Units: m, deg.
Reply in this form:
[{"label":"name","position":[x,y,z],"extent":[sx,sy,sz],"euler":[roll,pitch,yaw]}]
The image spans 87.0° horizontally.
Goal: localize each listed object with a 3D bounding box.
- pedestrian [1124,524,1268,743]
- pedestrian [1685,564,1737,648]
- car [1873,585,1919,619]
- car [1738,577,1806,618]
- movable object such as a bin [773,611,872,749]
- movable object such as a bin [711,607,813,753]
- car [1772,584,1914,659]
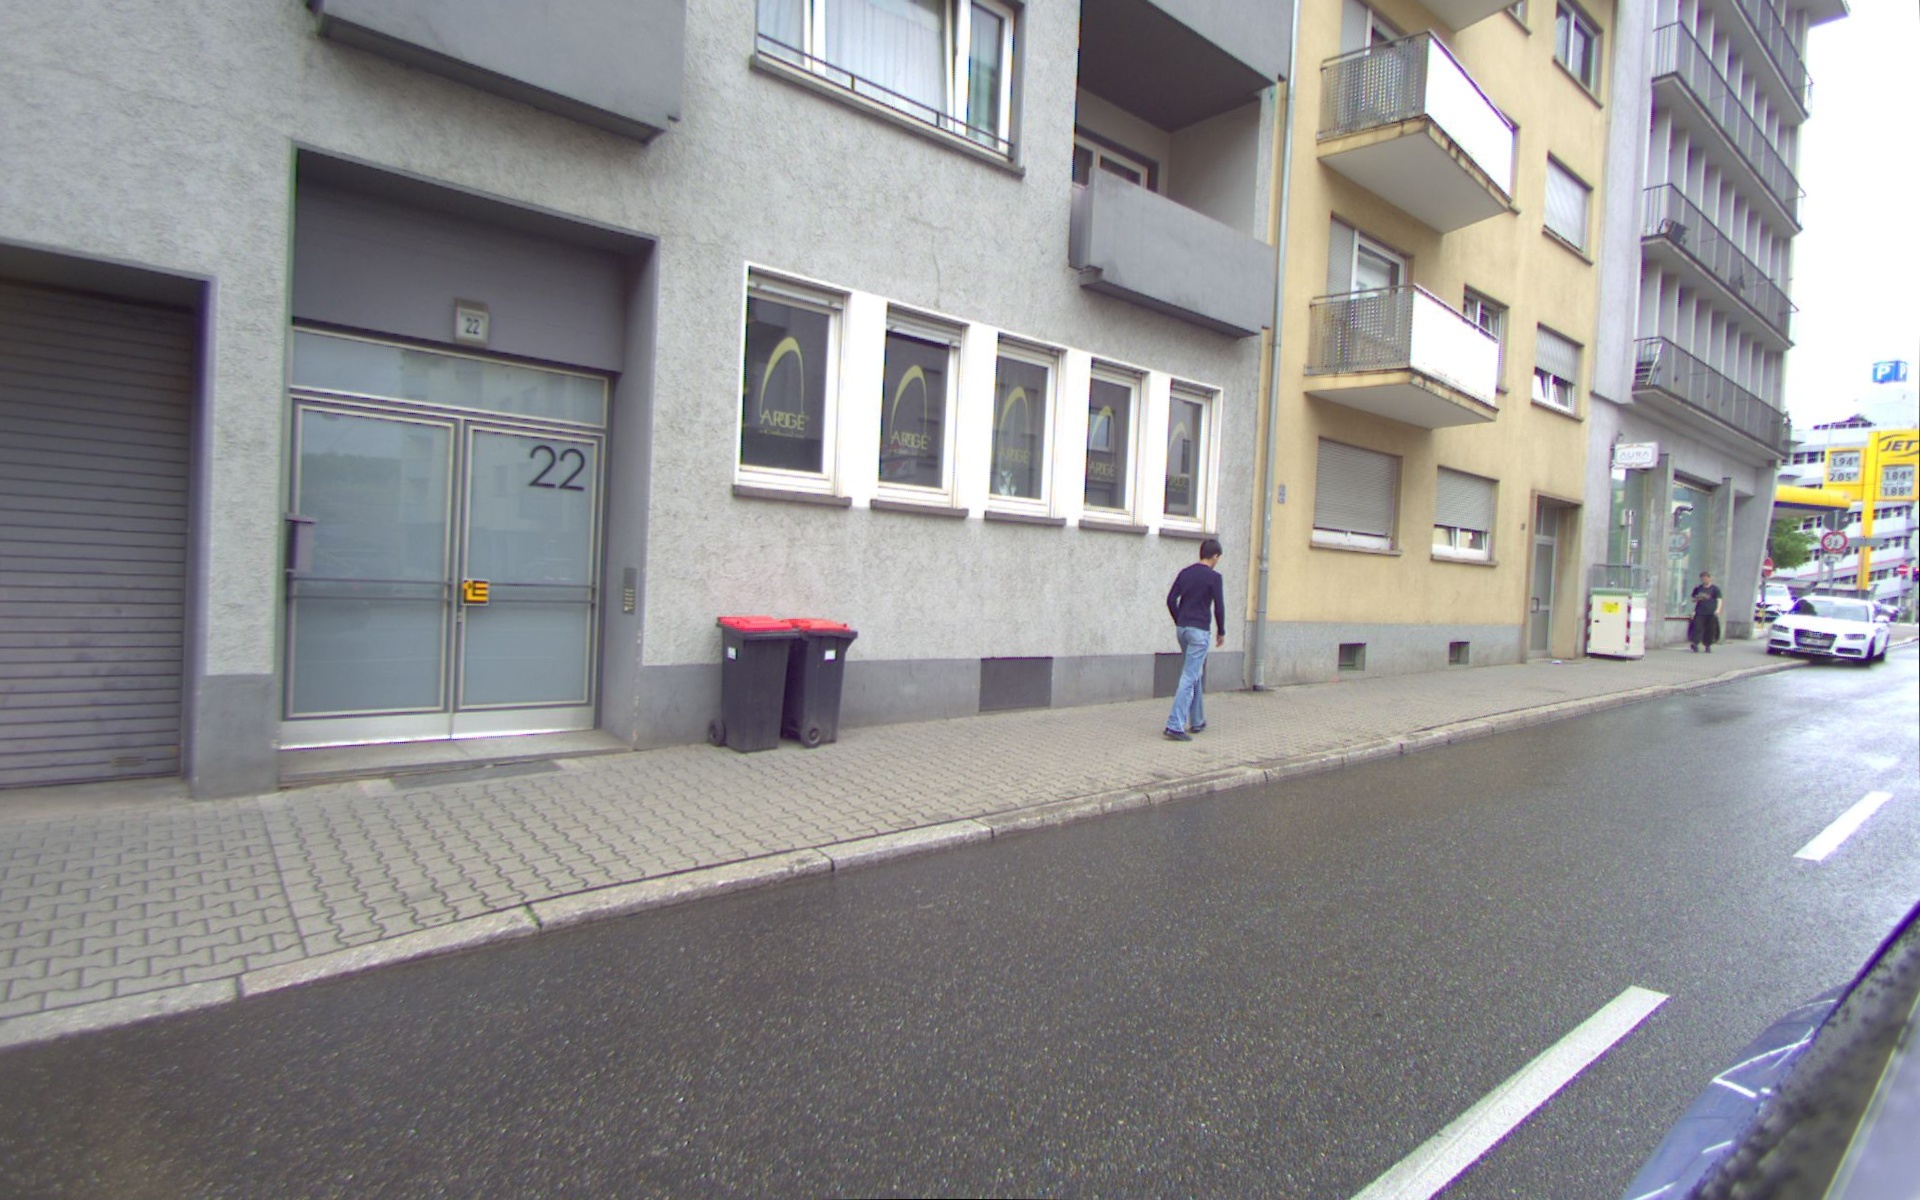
[{"label":"pedestrian","position":[2.095,0.261,8.960],"extent":[1.038,1.799,0.644],"euler":[0,5,-41]},{"label":"pedestrian","position":[16.361,0.118,22.036],"extent":[0.873,1.777,0.678],"euler":[0,3,-42]},{"label":"car","position":[53.122,0.176,55.567],"extent":[1.960,1.782,4.005],"euler":[1,3,-31]},{"label":"car","position":[31.322,-0.088,39.017],"extent":[1.766,1.493,3.938],"euler":[0,0,43]},{"label":"movable object such as a bin","position":[-1.065,0.596,7.798],"extent":[0.506,0.961,0.541],"euler":[0,5,-40]},{"label":"movable object such as a bin","position":[-1.464,0.564,7.452],"extent":[0.506,0.967,0.541],"euler":[0,5,-40]},{"label":"car","position":[20.127,0.422,23.017],"extent":[4.093,1.453,1.803],"euler":[0,4,-41]}]
